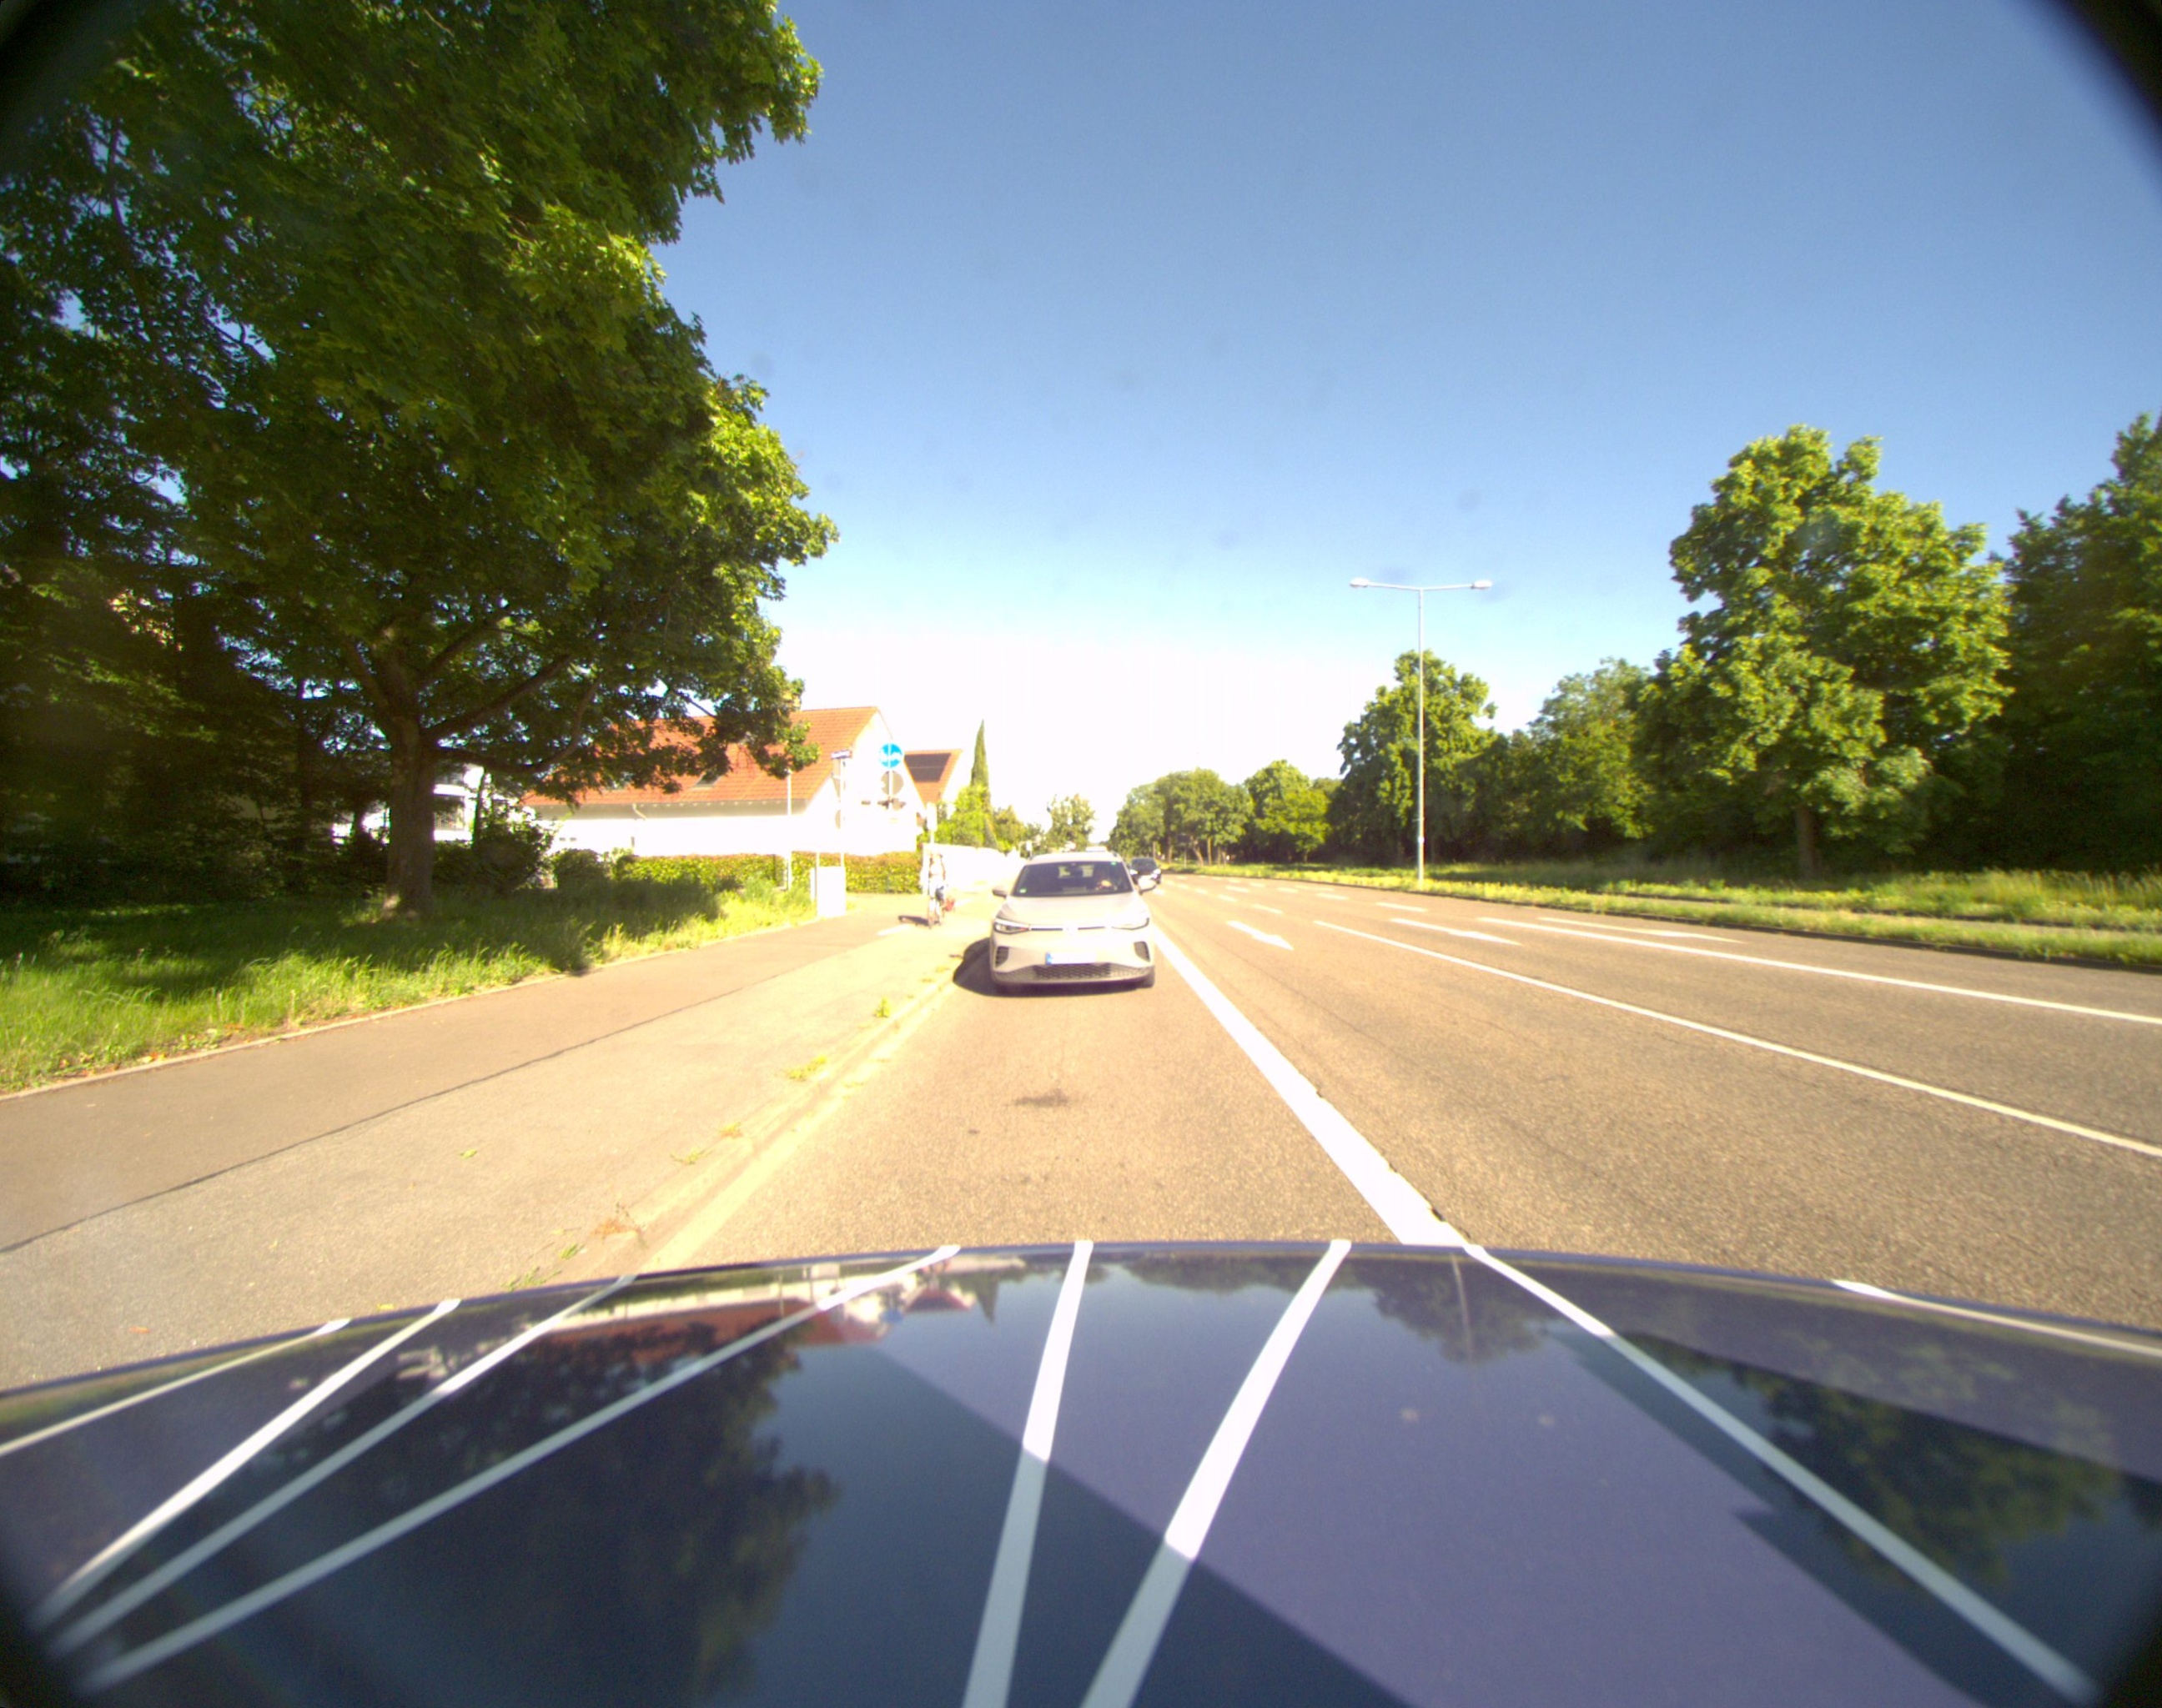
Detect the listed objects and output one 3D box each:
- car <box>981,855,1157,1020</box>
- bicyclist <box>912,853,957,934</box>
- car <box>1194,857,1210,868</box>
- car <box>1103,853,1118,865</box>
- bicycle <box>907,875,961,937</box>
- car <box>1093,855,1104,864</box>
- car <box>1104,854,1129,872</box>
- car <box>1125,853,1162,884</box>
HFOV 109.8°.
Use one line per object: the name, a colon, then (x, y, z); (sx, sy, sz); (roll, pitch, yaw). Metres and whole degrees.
car: (-0.101, 0.880, 10.098); (1.766, 1.606, 4.297); (-3, 1, 1)
bicyclist: (-3.079, 0.813, 16.023); (0.631, 1.623, 0.982); (3, 0, 3)
car: (19.839, 1.377, 124.658); (1.917, 1.693, 4.407); (-2, 1, 1)
car: (4.349, 0.717, 113.056); (1.856, 1.576, 3.998); (-2, 1, -3)
bicycle: (-3.072, 1.059, 16.069); (0.575, 1.148, 2.141); (3, 0, 3)
car: (3.317, 1.006, 145.673); (1.856, 1.576, 3.998); (-2, 1, -3)
car: (3.267, 0.785, 69.905); (1.856, 1.576, 3.998); (-2, 1, -3)
car: (3.548, 0.811, 43.572); (1.766, 1.606, 4.297); (-2, 1, 1)
